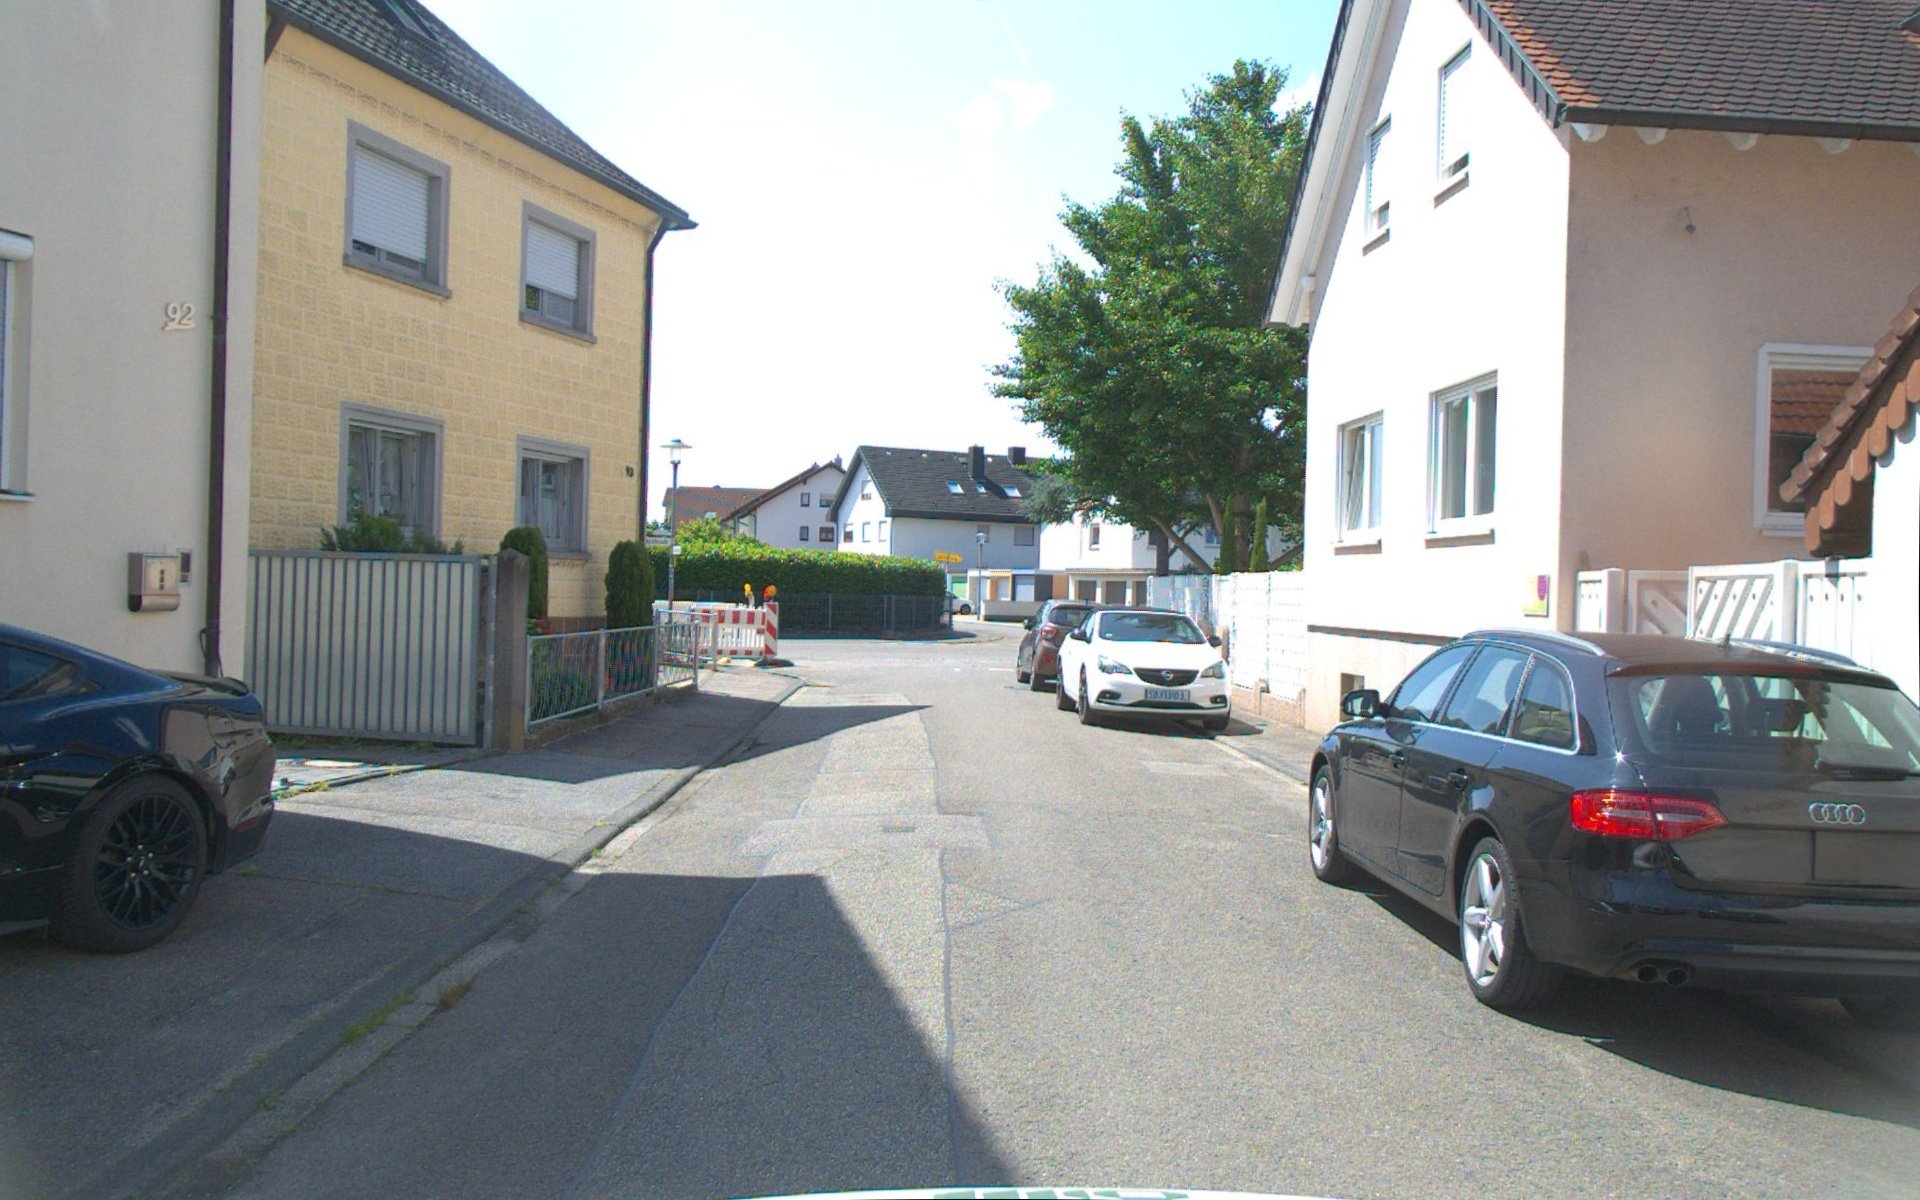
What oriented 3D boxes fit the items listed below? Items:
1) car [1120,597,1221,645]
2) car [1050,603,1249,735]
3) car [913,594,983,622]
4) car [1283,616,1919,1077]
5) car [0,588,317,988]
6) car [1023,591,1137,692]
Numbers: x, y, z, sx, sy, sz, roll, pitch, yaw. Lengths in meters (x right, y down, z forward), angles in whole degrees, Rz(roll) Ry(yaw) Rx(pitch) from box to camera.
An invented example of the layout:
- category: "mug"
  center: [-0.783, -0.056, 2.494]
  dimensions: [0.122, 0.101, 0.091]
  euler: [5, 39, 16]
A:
- category: "car"
  center: [7.867, 0.774, 62.022]
  dimensions: [1.775, 1.590, 4.109]
  euler: [2, 0, -26]
- category: "car"
  center: [2.355, 0.818, 21.768]
  dimensions: [1.857, 1.453, 4.735]
  euler: [3, 0, -2]
- category: "car"
  center: [-0.678, 0.466, 94.434]
  dimensions: [3.552, 1.433, 1.771]
  euler: [2, 0, -24]
- category: "car"
  center: [2.948, 0.836, 7.698]
  dimensions: [1.857, 1.389, 4.736]
  euler: [3, 0, -1]
- category: "car"
  center: [-4.346, 0.620, 5.440]
  dimensions: [1.732, 1.373, 4.472]
  euler: [3, -1, 17]
- category: "car"
  center: [2.005, 0.670, 28.650]
  dimensions: [1.677, 1.559, 4.036]
  euler: [3, 0, 1]
